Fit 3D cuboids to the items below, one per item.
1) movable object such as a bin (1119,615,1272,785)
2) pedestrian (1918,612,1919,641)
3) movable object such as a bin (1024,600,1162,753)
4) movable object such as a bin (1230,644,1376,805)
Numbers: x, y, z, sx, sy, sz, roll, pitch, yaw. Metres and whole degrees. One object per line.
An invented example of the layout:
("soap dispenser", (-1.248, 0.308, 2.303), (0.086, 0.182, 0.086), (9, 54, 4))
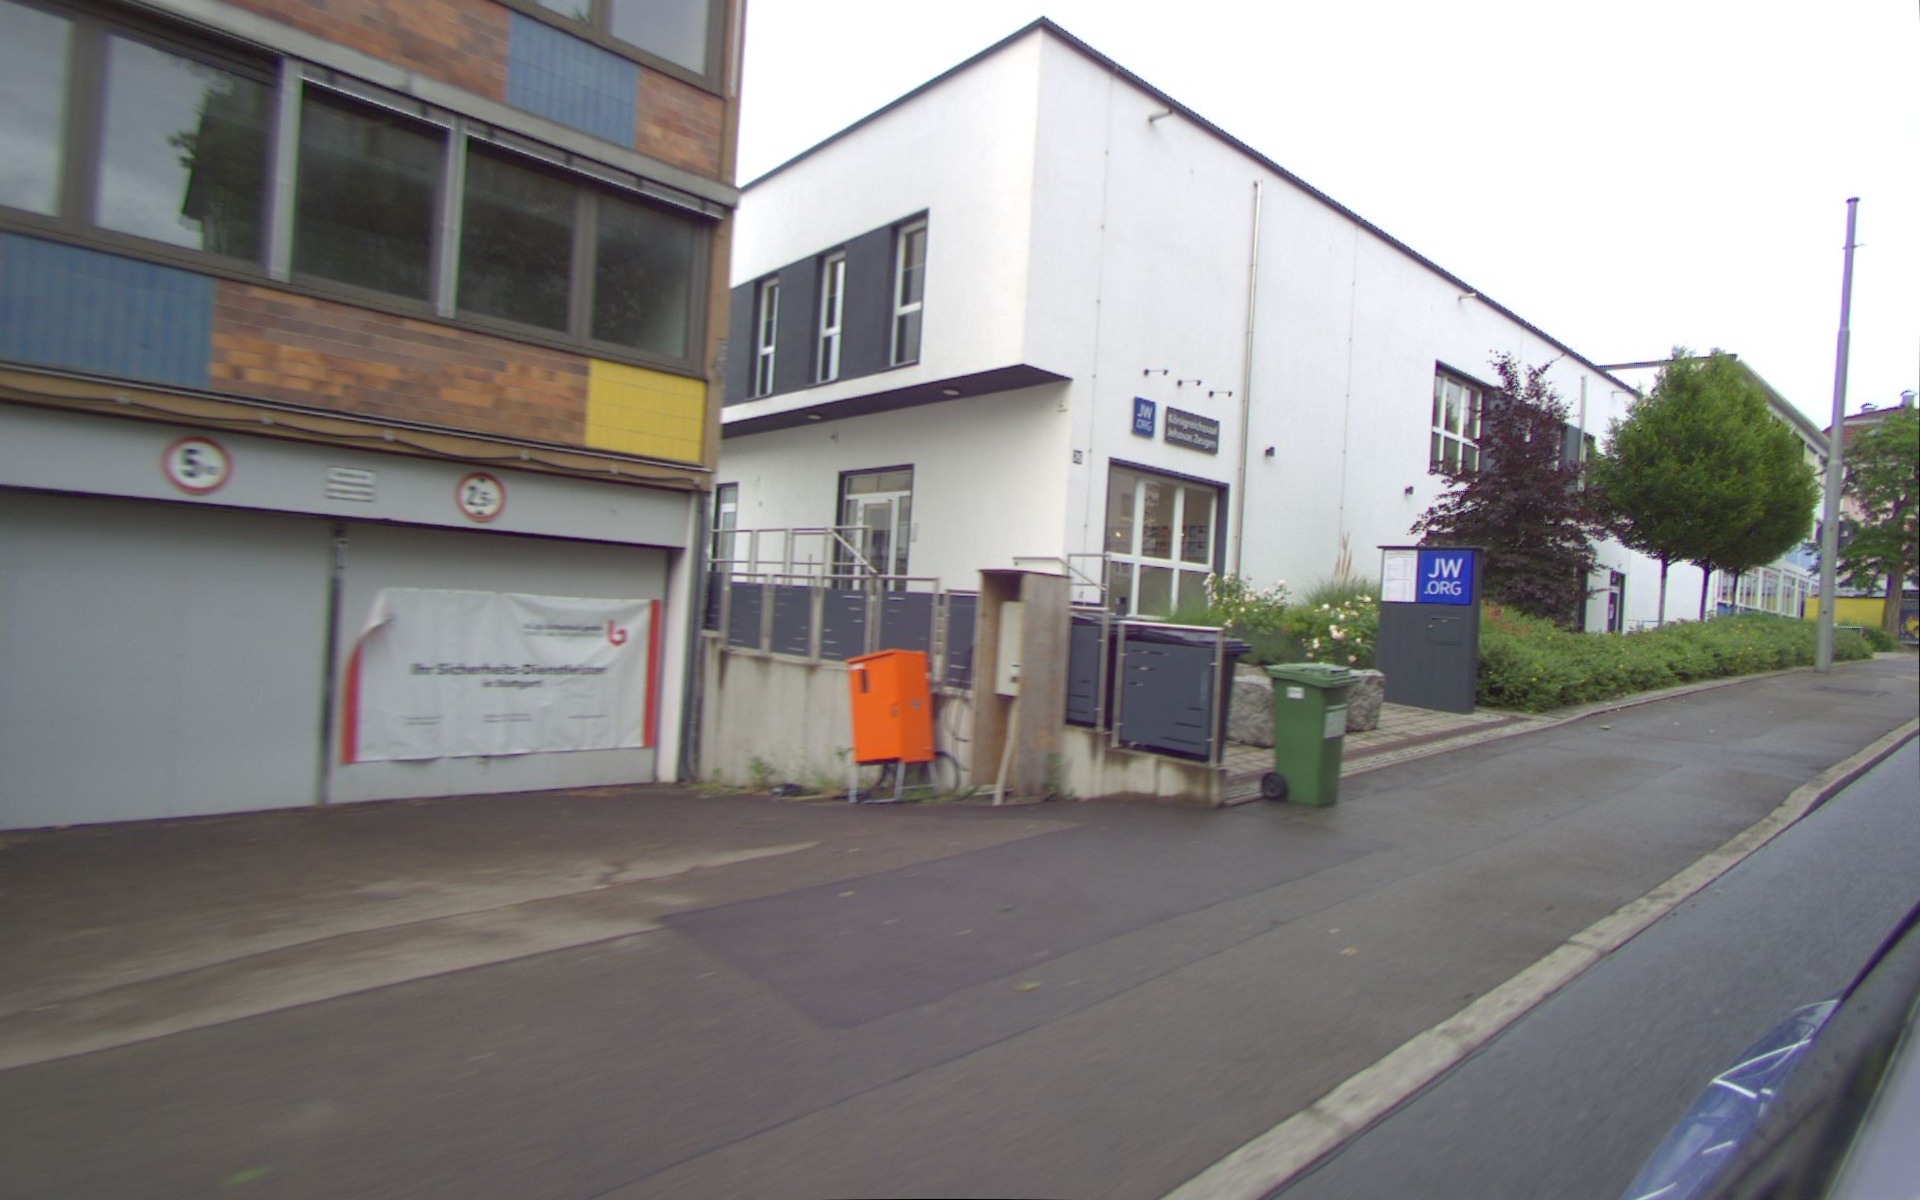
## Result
("movable object such as a bin", (1.714, 0.691, 7.378), (0.764, 1.095, 0.697), (1, 4, -39))
("pedestrian", (43.176, 1.212, 44.586), (1.356, 1.289, 0.729), (4, 1, 45))
("movable object such as a bin", (1.062, 0.576, 8.093), (0.764, 1.095, 0.697), (1, 4, -39))
("movable object such as a bin", (2.328, 0.810, 6.872), (0.673, 0.947, 0.621), (1, 4, -39))
